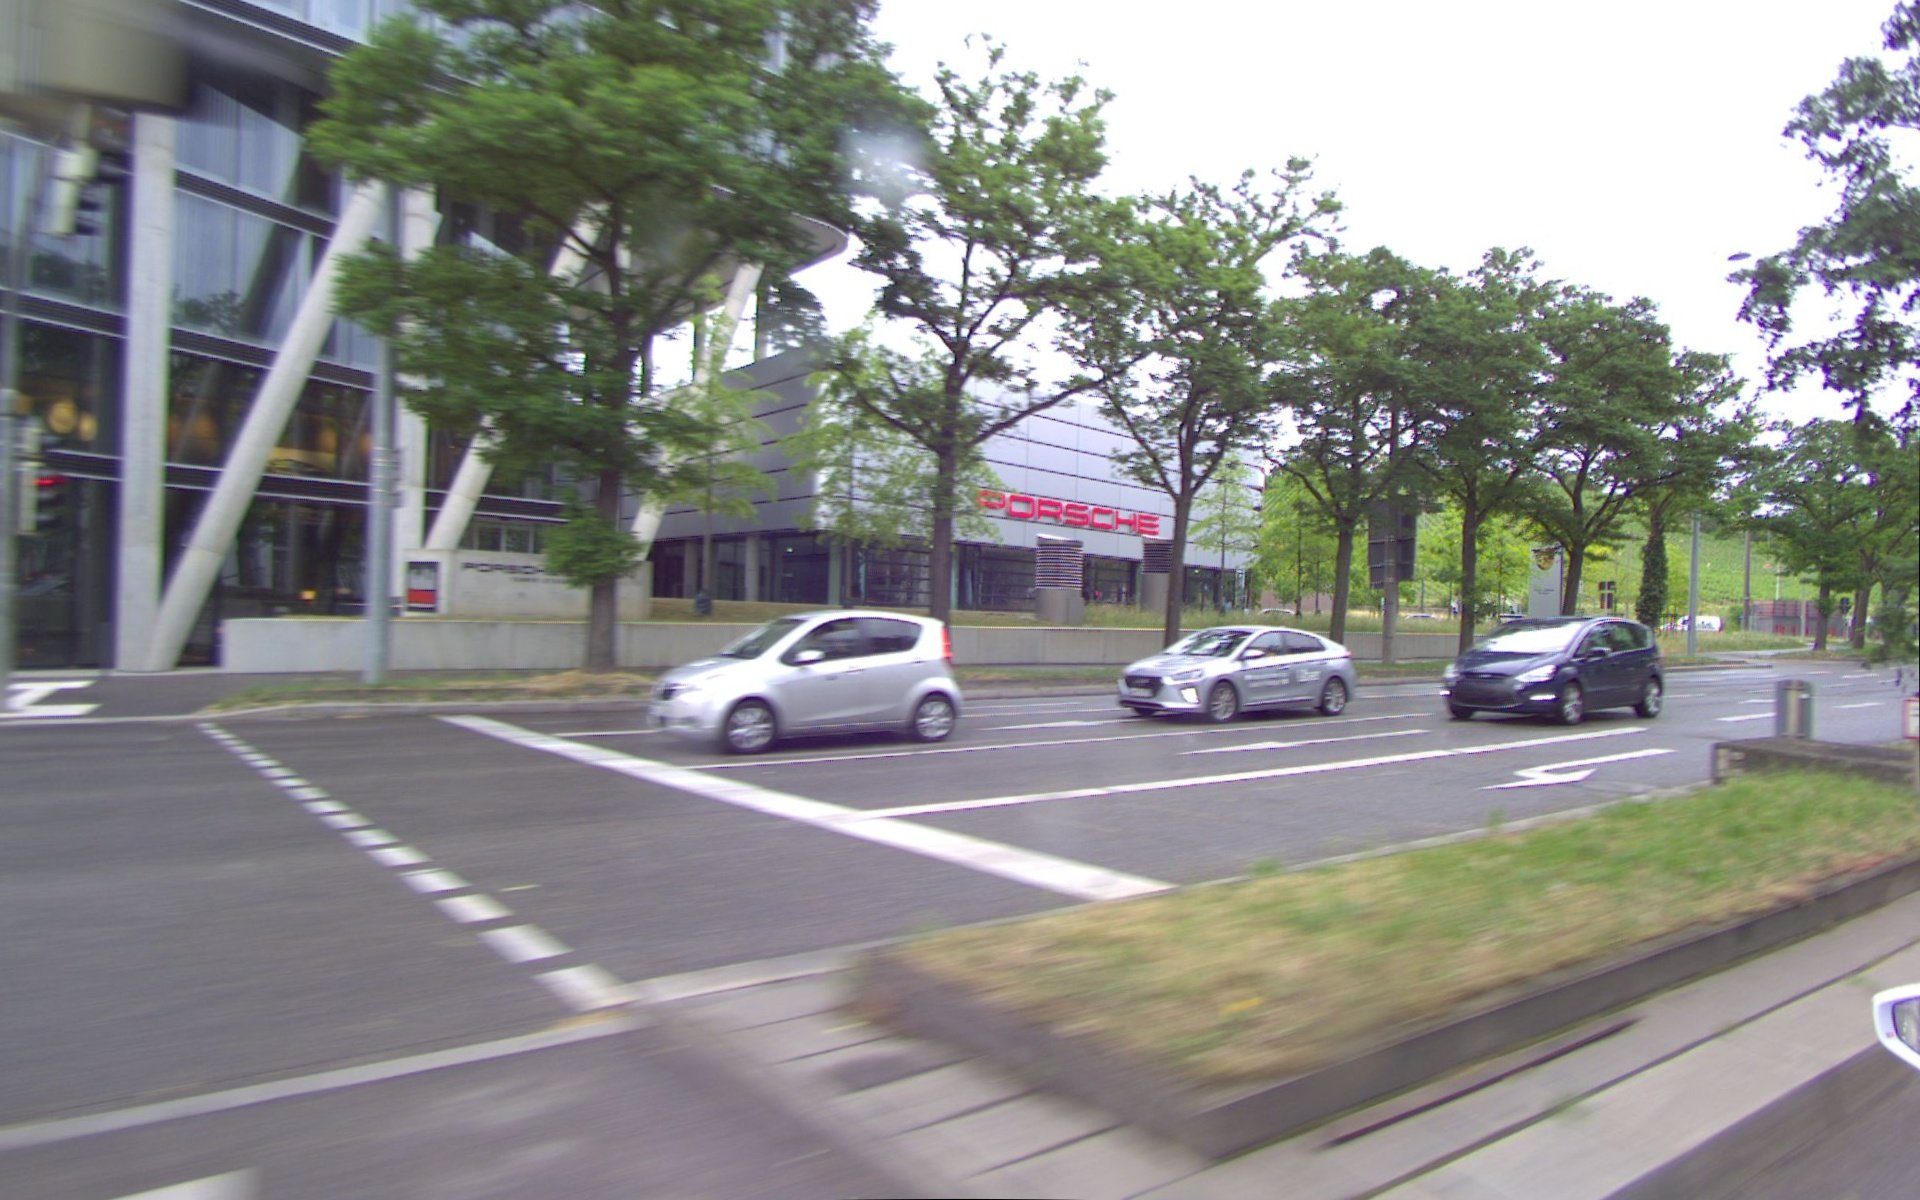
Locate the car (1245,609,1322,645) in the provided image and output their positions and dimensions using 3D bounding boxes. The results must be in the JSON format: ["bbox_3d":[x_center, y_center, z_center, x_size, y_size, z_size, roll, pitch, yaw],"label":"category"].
[{"bbox_3d":[19.574,1.625,60.837,3.940,2.040,1.990,0,-1,40],"label":"car"}]

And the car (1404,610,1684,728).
[{"bbox_3d":[9.528,1.035,16.249,5.069,1.637,1.981,1,-2,-35],"label":"car"}]

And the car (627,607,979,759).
[{"bbox_3d":[-1.807,0.908,11.983,3.777,1.540,1.739,2,-2,-34],"label":"car"}]

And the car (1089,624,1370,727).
[{"bbox_3d":[4.398,1.122,16.124,4.607,1.430,1.803,1,-2,-34],"label":"car"}]
